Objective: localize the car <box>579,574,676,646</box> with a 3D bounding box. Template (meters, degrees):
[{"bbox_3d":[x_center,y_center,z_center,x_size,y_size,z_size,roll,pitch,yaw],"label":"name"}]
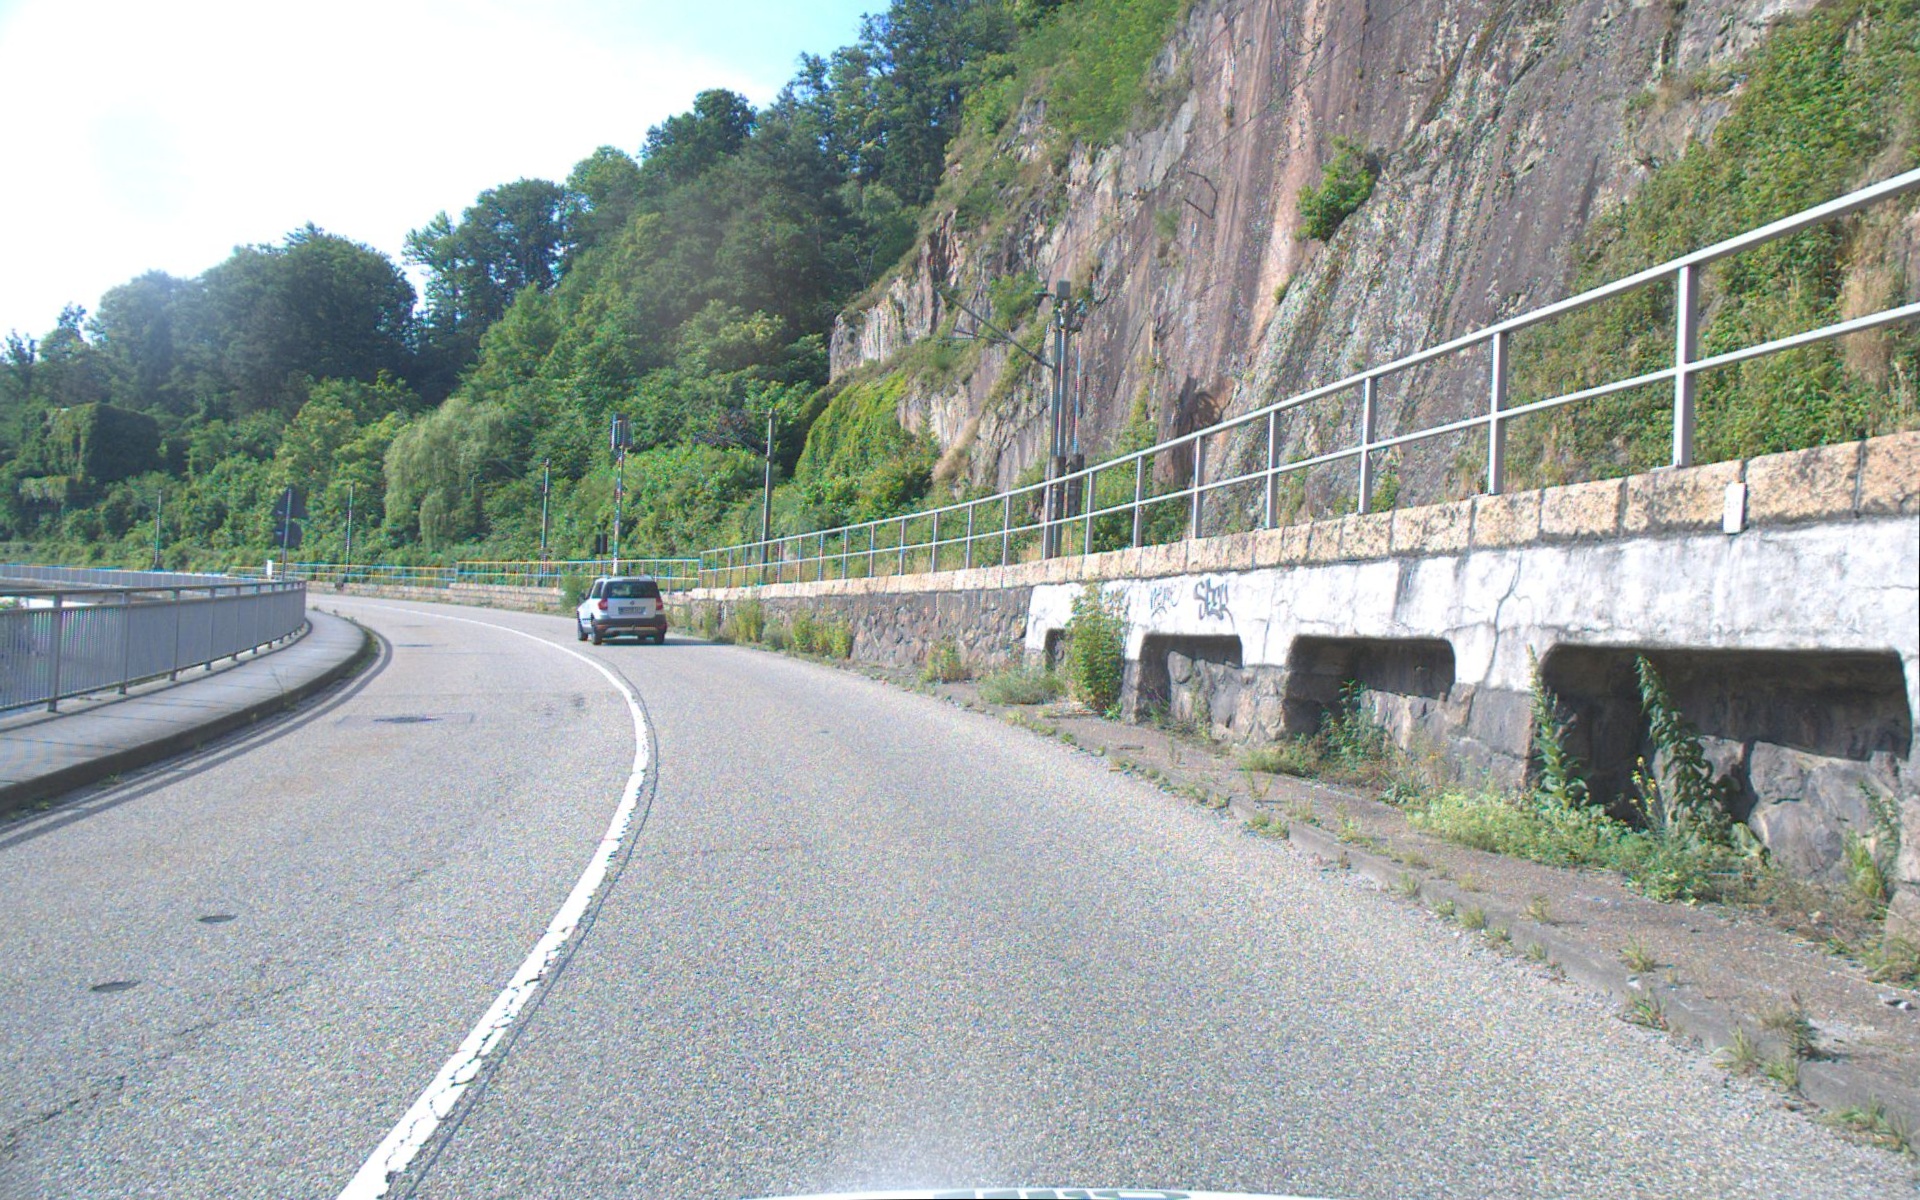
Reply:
[{"bbox_3d":[-8.358,0.208,41.355,1.845,1.684,3.977,0,1,-20],"label":"car"}]
